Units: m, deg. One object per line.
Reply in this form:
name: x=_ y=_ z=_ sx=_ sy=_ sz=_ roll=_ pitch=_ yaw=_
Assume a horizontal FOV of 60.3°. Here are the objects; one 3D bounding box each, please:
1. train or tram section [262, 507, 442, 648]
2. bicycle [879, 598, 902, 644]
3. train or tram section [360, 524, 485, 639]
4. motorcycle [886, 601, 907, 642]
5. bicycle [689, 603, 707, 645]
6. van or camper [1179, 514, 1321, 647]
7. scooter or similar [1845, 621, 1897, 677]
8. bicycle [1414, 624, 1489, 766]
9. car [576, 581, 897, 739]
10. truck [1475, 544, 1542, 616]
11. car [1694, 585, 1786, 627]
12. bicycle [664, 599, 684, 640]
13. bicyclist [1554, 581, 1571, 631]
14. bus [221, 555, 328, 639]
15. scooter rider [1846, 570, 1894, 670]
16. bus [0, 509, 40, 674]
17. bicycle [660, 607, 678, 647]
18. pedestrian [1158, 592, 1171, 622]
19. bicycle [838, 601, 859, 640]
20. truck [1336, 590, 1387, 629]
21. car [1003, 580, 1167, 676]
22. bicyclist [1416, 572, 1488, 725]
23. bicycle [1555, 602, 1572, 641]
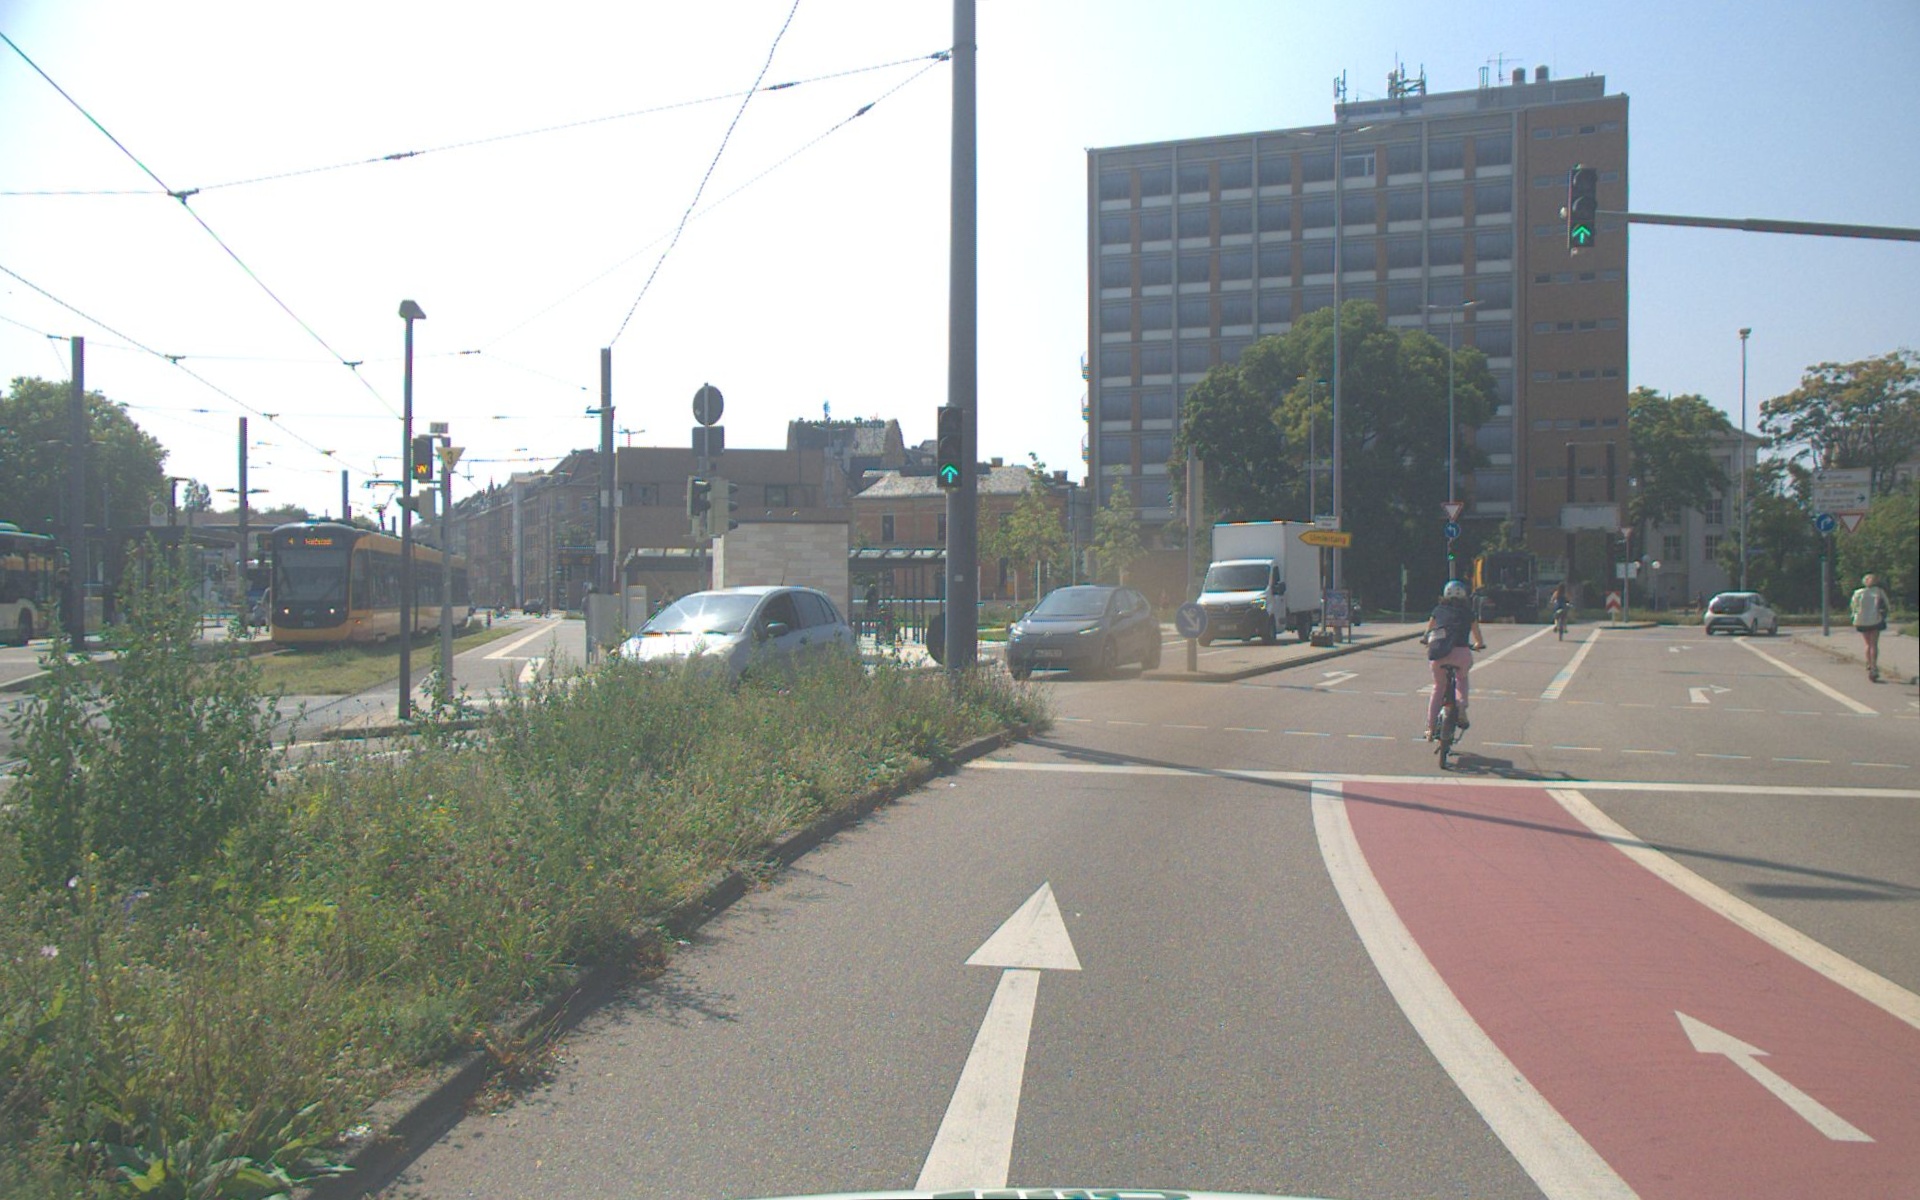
train or tram section: x=-18.354 y=-0.554 z=51.251 sx=2.806 sy=3.610 sz=17.686 roll=0 pitch=0 yaw=-12
bicycle: x=-1.916 y=0.567 z=45.579 sx=0.592 sy=1.232 sz=1.810 roll=0 pitch=0 yaw=-1
train or tram section: x=-22.149 y=-0.636 z=69.328 sx=2.835 sy=4.139 sz=19.085 roll=0 pitch=0 yaw=-12
motorcycle: x=-1.962 y=0.658 z=51.186 sx=0.592 sy=1.232 sz=2.253 roll=0 pitch=0 yaw=-1
bicycle: x=-7.062 y=0.645 z=44.535 sx=0.456 sy=1.120 sz=1.419 roll=0 pitch=0 yaw=-10
van or camper: x=8.121 y=-0.504 z=45.594 sx=2.351 sy=3.364 sz=7.189 roll=-1 pitch=0 yaw=22
scooter or similar: x=16.647 y=0.879 z=30.239 sx=0.757 sy=0.943 sz=1.619 roll=0 pitch=0 yaw=26
bicycle: x=4.513 y=0.824 z=15.138 sx=0.591 sy=1.183 sz=1.811 roll=0 pitch=0 yaw=19
car: x=-2.347 y=0.583 z=18.593 sx=1.617 sy=1.557 sz=4.324 roll=-1 pitch=0 yaw=23
truck: x=24.242 y=-0.839 z=73.283 sx=2.639 sy=3.042 sz=5.969 roll=0 pitch=0 yaw=17
car: x=27.548 y=0.198 z=58.369 sx=1.817 sy=1.416 sz=3.973 roll=-1 pitch=0 yaw=43
bicycle: x=-9.182 y=0.605 z=53.067 sx=0.595 sy=1.275 sz=2.615 roll=0 pitch=0 yaw=-11
bicyclist: x=17.811 y=0.177 z=48.865 sx=0.440 sy=1.446 sz=0.496 roll=-1 pitch=0 yaw=21
bus: x=-33.035 y=-0.107 z=80.140 sx=2.661 sy=3.792 sz=10.391 roll=0 pitch=0 yaw=-11
scooter rider: x=16.669 y=0.366 z=30.308 sx=0.747 sy=1.806 sz=0.554 roll=0 pitch=0 yaw=27
bus: x=-23.228 y=-0.217 z=35.758 sx=2.906 sy=3.841 sz=10.562 roll=0 pitch=0 yaw=-13
bicycle: x=-7.797 y=0.712 z=44.357 sx=0.456 sy=1.051 sz=1.544 roll=0 pitch=0 yaw=-10
pedestrian: x=10.550 y=0.359 z=85.183 sx=0.522 sy=1.579 sz=0.414 roll=-1 pitch=0 yaw=-23
bicycle: x=-3.528 y=0.637 z=52.324 sx=0.592 sy=1.232 sz=1.810 roll=0 pitch=0 yaw=-1
truck: x=16.062 y=0.358 z=66.104 sx=1.523 sy=1.530 sz=3.621 roll=-1 pitch=0 yaw=21
car: x=2.290 y=0.446 z=29.161 sx=1.662 sy=1.557 sz=4.182 roll=0 pitch=0 yaw=23
bicyclist: x=4.486 y=0.430 z=15.064 sx=0.590 sy=1.358 sz=0.660 roll=0 pitch=0 yaw=20
bicycle: x=17.784 y=0.629 z=48.763 sx=0.435 sy=1.136 sz=1.446 roll=-1 pitch=0 yaw=21
